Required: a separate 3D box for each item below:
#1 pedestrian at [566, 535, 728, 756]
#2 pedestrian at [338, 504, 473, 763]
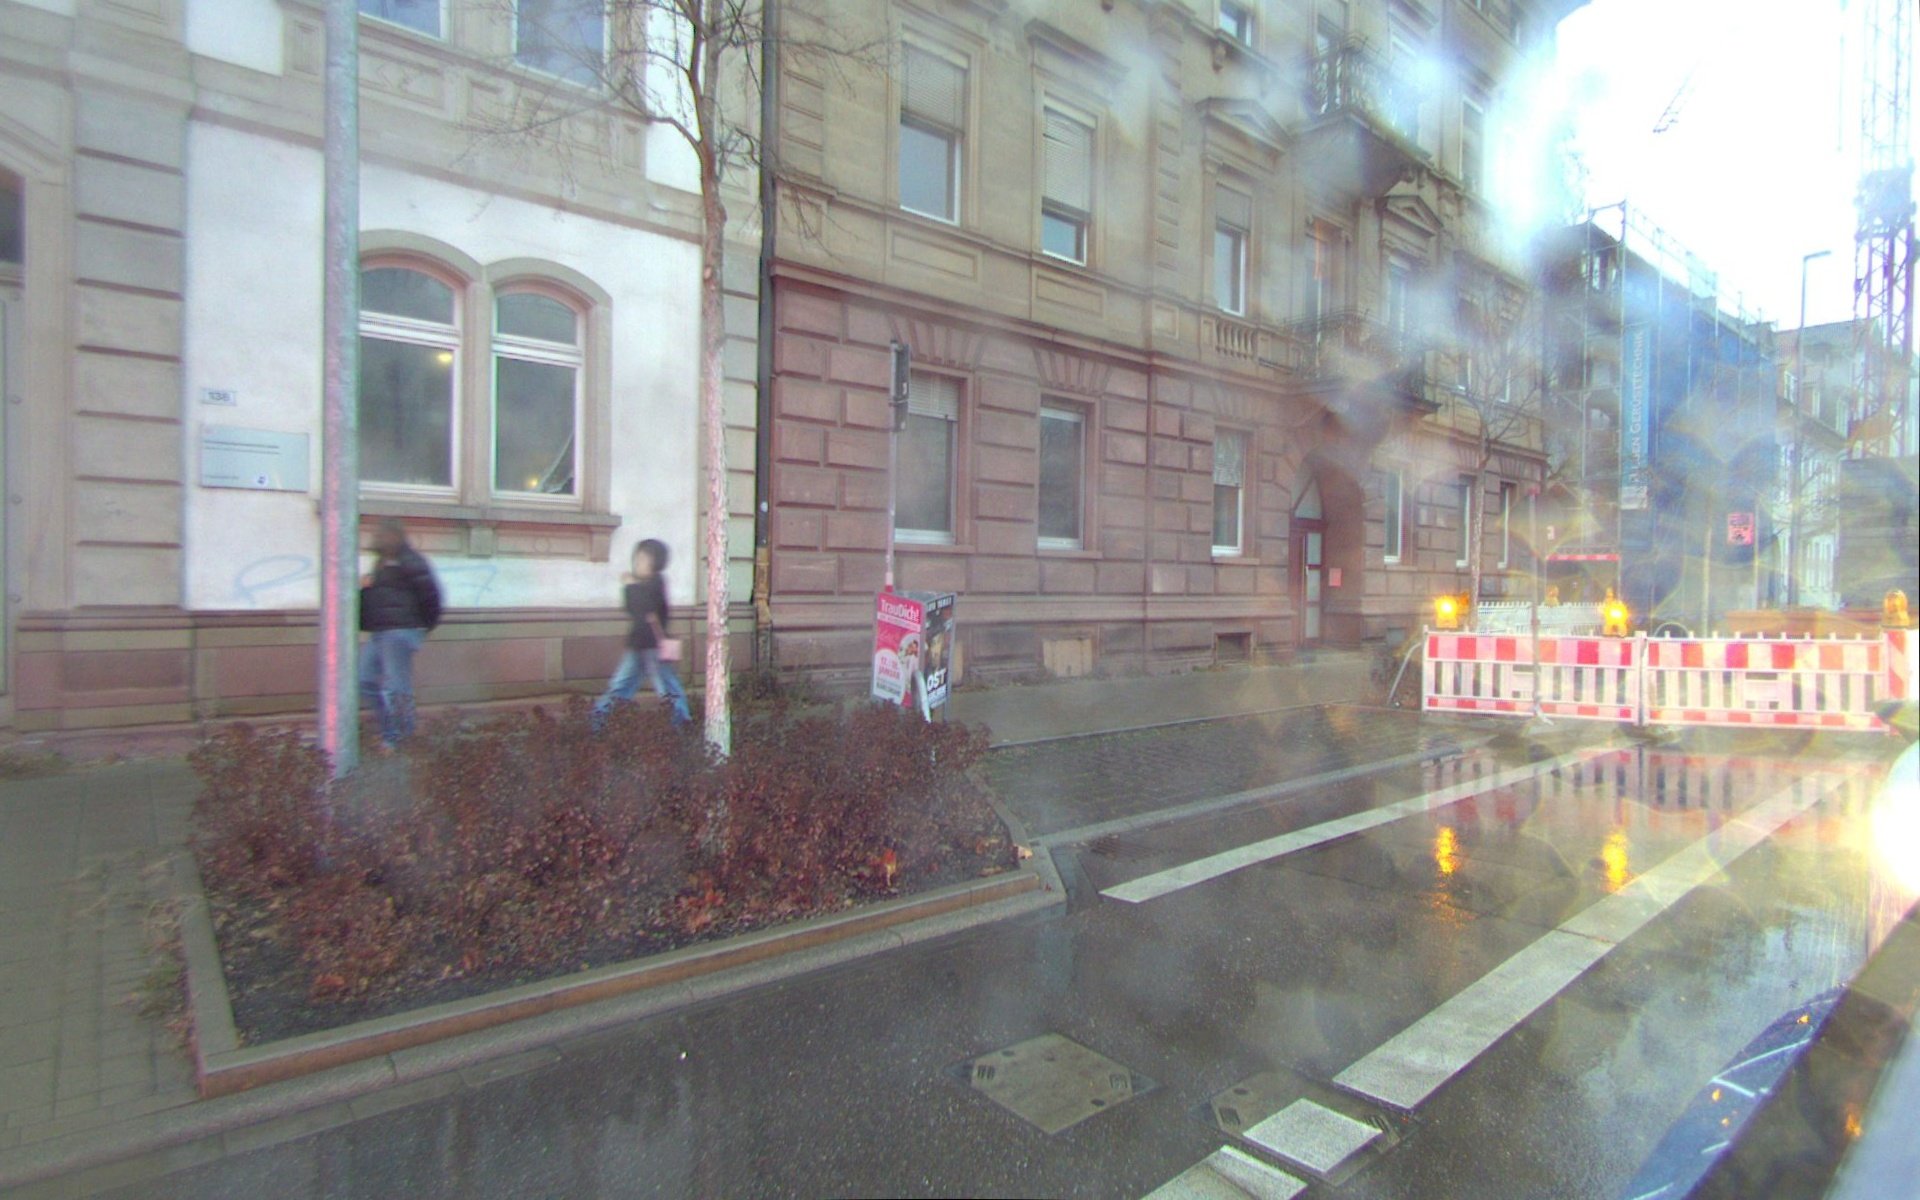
[{"bbox_3d":[-2.418,0.305,7.798,0.913,1.564,0.870,0,2,-40],"label":"pedestrian"},{"bbox_3d":[-3.943,0.202,7.177,0.694,1.693,0.870,0,2,-39],"label":"pedestrian"}]
